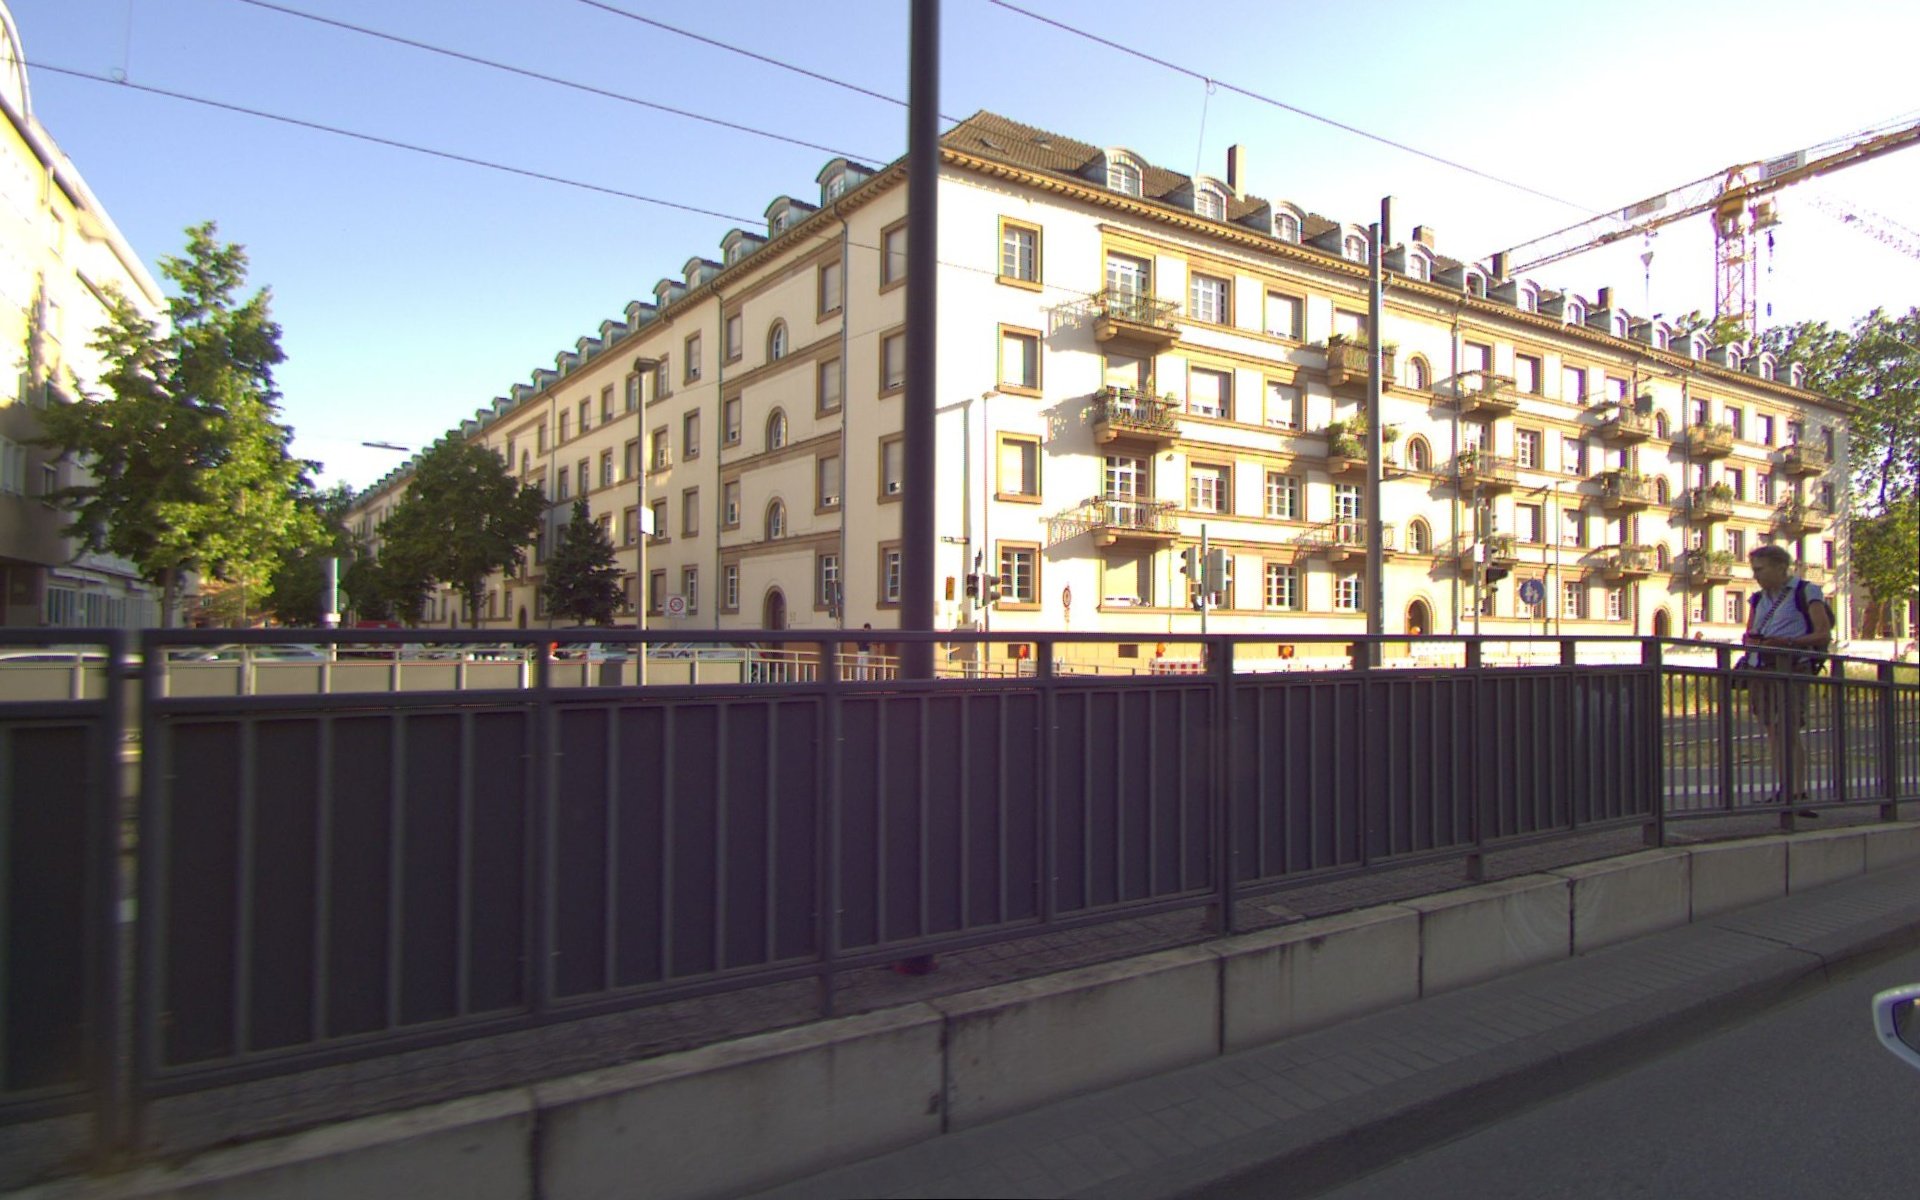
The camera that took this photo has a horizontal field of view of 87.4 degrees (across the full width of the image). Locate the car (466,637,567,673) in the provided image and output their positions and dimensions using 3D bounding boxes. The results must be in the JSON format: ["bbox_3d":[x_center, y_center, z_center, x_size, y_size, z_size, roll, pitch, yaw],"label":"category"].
[{"bbox_3d":[-20.132,2.461,45.652,3.961,1.521,1.825,1,-2,-36],"label":"car"}]

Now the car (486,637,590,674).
[{"bbox_3d":[-18.600,2.411,44.356,3.961,1.521,1.825,1,-2,-36],"label":"car"}]

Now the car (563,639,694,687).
[{"bbox_3d":[-11.448,2.130,34.749,3.961,1.521,1.825,1,-2,-36],"label":"car"}]

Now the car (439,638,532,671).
[{"bbox_3d":[-23.559,2.668,49.912,3.961,1.521,1.825,1,-2,-36],"label":"car"}]

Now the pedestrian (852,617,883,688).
[{"bbox_3d":[-2.706,1.508,29.218,0.618,2.040,0.797,0,-2,-30],"label":"pedestrian"}]

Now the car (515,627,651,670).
[{"bbox_3d":[-14.542,1.837,38.850,4.667,1.521,1.825,1,-2,-36],"label":"car"}]

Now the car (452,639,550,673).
[{"bbox_3d":[-21.793,2.623,47.729,3.961,1.521,1.825,1,-2,-36],"label":"car"}]

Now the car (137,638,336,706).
[{"bbox_3d":[-18.891,1.822,26.414,4.116,1.606,1.825,1,-2,-36],"label":"car"}]

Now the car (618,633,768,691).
[{"bbox_3d":[-8.157,1.853,30.843,4.090,1.606,1.825,1,-2,-36],"label":"car"}]

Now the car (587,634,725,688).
[{"bbox_3d":[-9.840,1.923,32.619,3.961,1.606,1.825,1,-2,-36],"label":"car"}]

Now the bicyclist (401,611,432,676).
[{"bbox_3d":[-14.575,1.167,26.931,0.660,1.702,0.482,1,-2,-34],"label":"bicyclist"}]

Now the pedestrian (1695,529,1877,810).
[{"bbox_3d":[5.313,0.434,6.468,0.857,1.664,0.652,3,-2,-30],"label":"pedestrian"}]

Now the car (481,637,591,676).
[{"bbox_3d":[-17.658,2.323,41.891,3.961,1.521,1.825,1,-2,-36],"label":"car"}]

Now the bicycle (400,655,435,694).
[{"bbox_3d":[-14.511,1.974,26.844,0.678,0.960,1.726,1,-2,-33],"label":"bicycle"}]

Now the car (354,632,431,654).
[{"bbox_3d":[-40.919,3.068,72.469,4.667,1.521,1.825,1,-2,-36],"label":"car"}]
